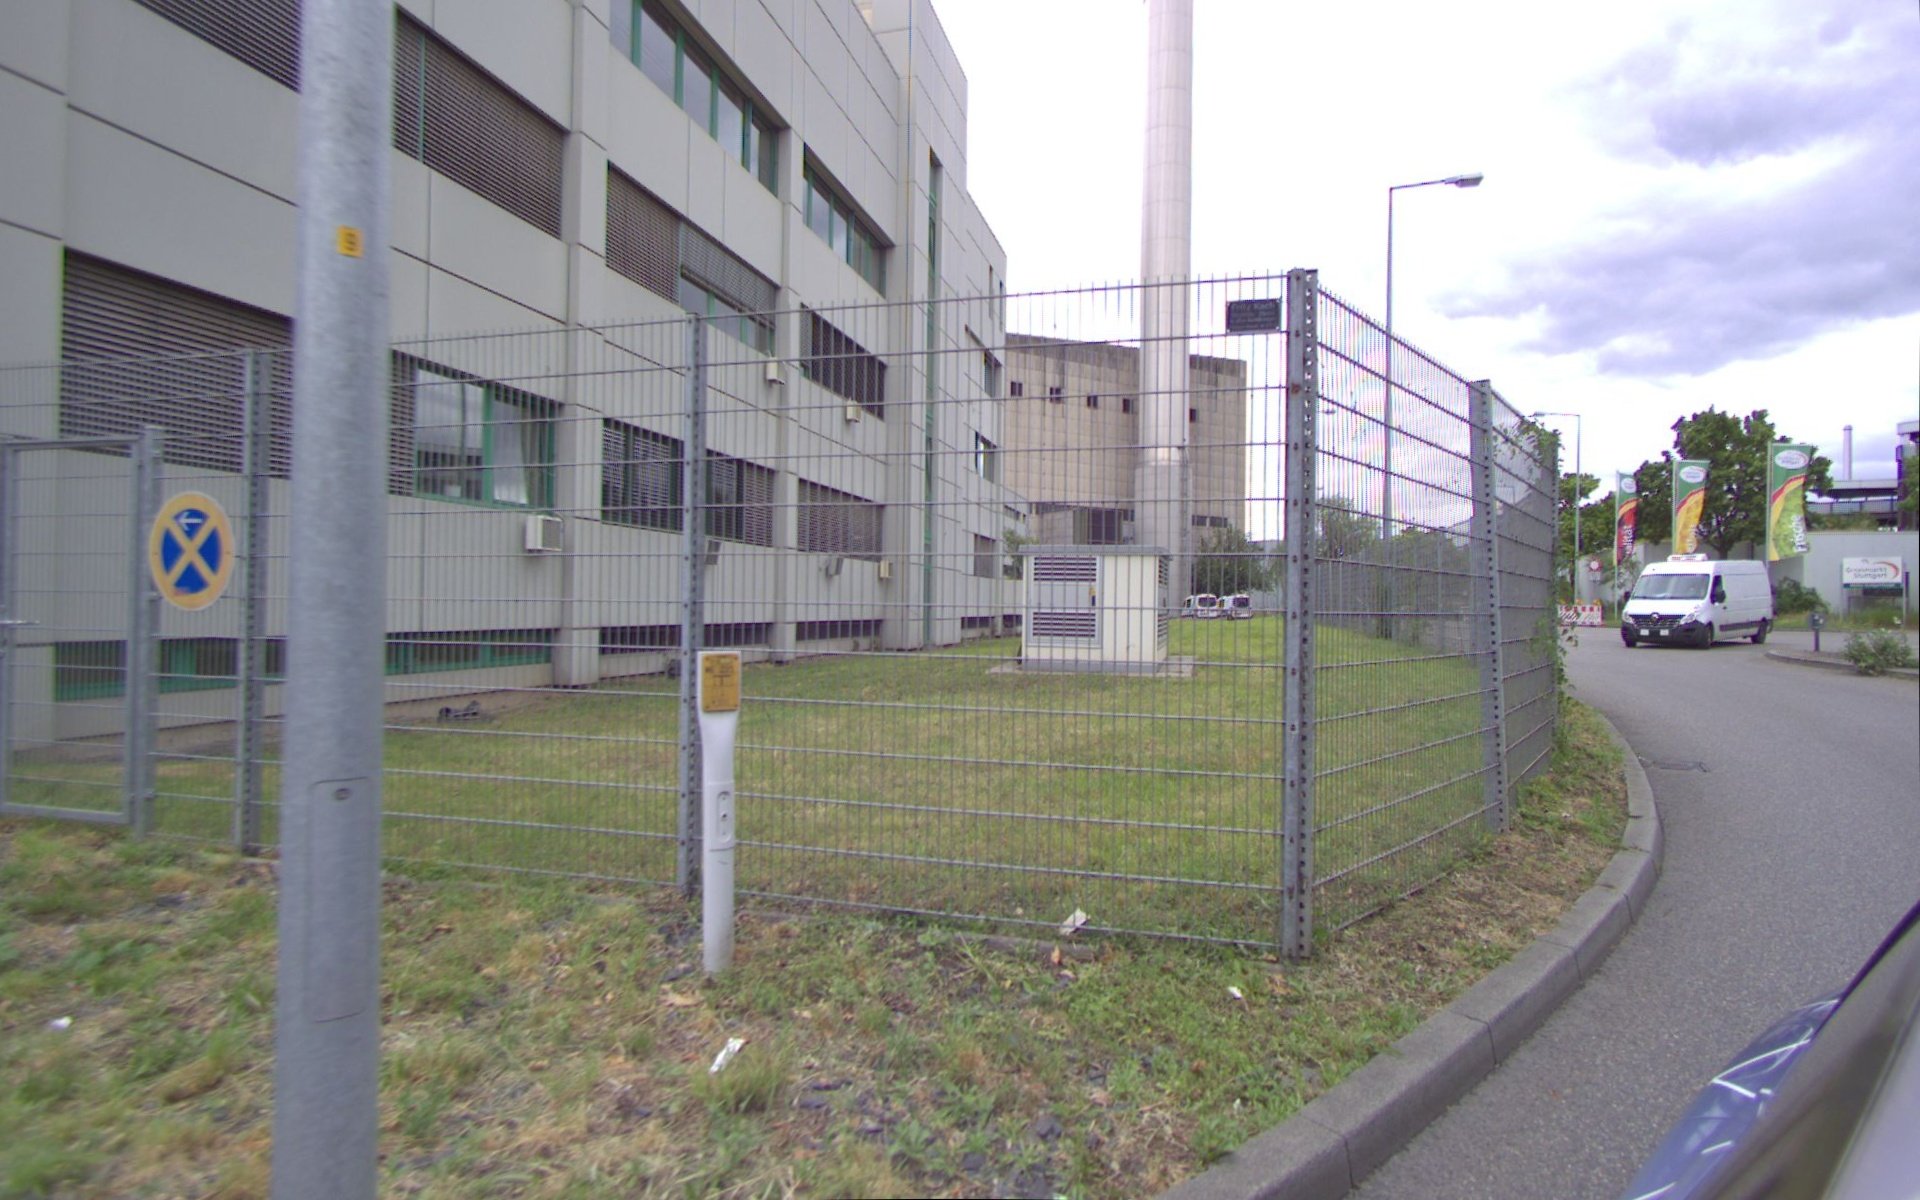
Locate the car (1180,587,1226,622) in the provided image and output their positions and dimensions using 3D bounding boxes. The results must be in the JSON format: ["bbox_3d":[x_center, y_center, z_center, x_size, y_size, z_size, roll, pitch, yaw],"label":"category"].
[{"bbox_3d":[21.040,0.468,87.839,2.380,2.799,5.454,0,-3,-2],"label":"car"}]

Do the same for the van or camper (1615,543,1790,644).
[{"bbox_3d":[21.185,-0.182,28.779,5.993,2.589,2.272,0,0,-36],"label":"van or camper"}]

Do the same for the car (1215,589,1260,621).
[{"bbox_3d":[24.150,0.481,88.381,2.195,2.581,5.191,0,-3,-3],"label":"car"}]
